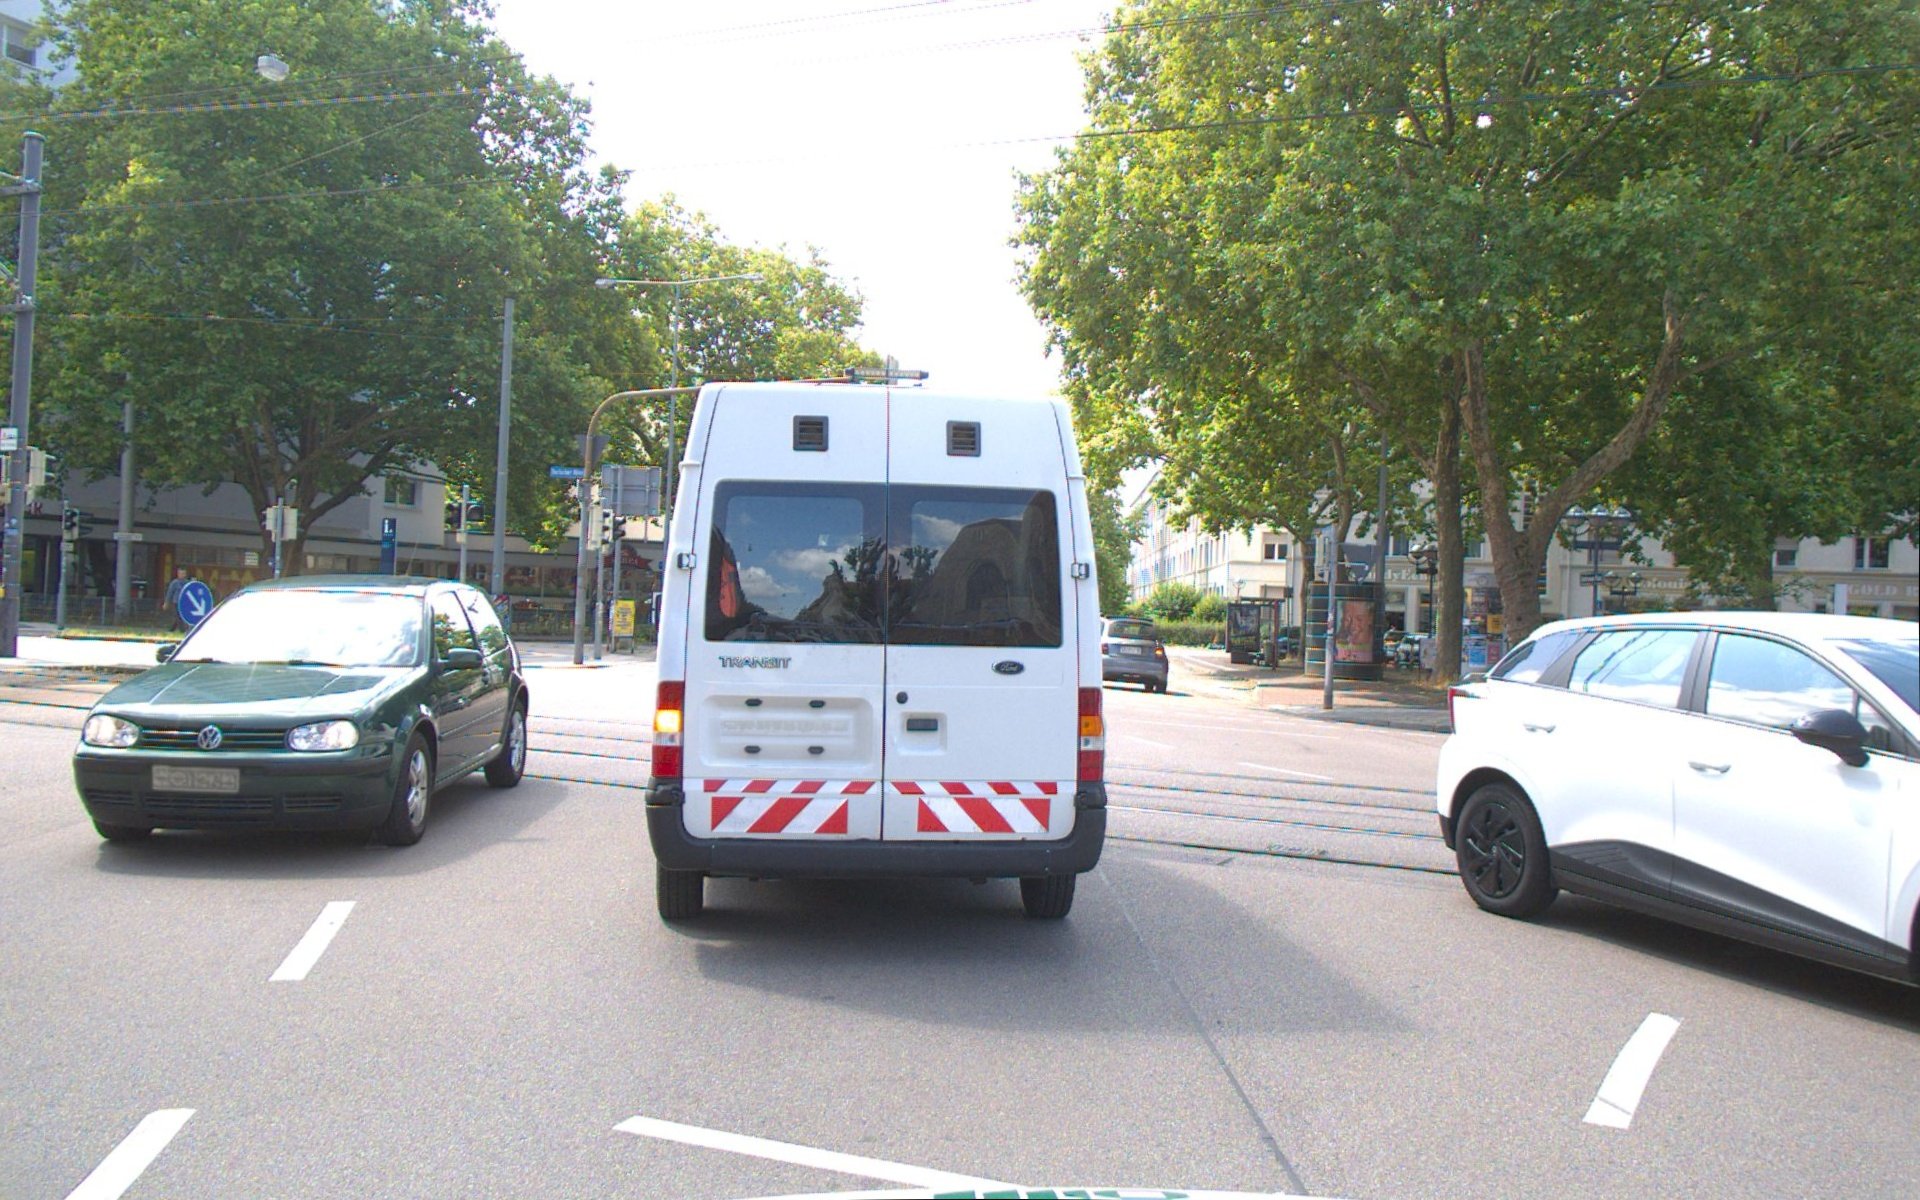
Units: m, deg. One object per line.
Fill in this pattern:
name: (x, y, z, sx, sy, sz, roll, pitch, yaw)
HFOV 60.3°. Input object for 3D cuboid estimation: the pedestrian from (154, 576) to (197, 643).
pedestrian: (-19.528, 0.227, 41.167, 0.766, 1.626, 0.535, 2, -1, 21)

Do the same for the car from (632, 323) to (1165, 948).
car: (-0.467, 0.140, 8.801, 2.008, 2.373, 4.708, 2, 0, -6)

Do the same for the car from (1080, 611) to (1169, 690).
car: (3.580, 1.072, 36.467, 1.657, 1.564, 3.469, 2, 0, 2)

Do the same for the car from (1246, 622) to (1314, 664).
car: (13.521, 1.812, 69.799, 1.986, 1.628, 4.538, 2, -1, 21)

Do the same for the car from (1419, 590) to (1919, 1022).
car: (3.989, 0.771, 7.071, 1.788, 1.532, 4.105, 2, 0, -21)

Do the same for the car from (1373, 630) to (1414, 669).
car: (16.734, 1.894, 63.877, 1.434, 1.413, 3.069, 2, -1, 15)

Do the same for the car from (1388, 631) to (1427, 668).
car: (18.258, 2.009, 67.444, 1.434, 1.413, 3.237, 2, -1, 16)

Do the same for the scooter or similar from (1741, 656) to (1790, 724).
scooter or similar: (13.291, 1.484, 27.312, 0.692, 1.074, 0.490, 2, -1, 25)

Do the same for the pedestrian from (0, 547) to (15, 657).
pedestrian: (-15.186, 0.017, 25.727, 0.664, 1.695, 0.622, 2, -1, 42)

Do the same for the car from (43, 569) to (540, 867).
car: (-3.776, 0.575, 10.073, 1.679, 1.458, 3.815, 1, 0, -4)

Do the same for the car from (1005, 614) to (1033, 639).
car: (3.929, 1.780, 110.069, 1.689, 1.582, 3.633, 2, -1, 0)

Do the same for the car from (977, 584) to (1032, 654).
car: (1.826, 0.763, 68.400, 2.076, 2.687, 6.329, 2, 0, 1)

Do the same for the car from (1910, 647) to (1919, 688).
car: (41.148, 2.847, 69.540, 1.704, 1.666, 3.997, 2, -1, 25)

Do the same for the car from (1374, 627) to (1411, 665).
car: (20.660, 2.177, 78.892, 1.435, 1.695, 3.068, 2, -1, 19)

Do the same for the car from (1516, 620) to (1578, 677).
car: (23.336, 1.933, 65.658, 1.954, 2.112, 3.998, 2, -1, 24)

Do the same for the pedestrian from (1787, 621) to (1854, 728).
pedestrian: (14.014, 1.203, 26.954, 0.902, 1.674, 0.570, 2, -1, 25)
